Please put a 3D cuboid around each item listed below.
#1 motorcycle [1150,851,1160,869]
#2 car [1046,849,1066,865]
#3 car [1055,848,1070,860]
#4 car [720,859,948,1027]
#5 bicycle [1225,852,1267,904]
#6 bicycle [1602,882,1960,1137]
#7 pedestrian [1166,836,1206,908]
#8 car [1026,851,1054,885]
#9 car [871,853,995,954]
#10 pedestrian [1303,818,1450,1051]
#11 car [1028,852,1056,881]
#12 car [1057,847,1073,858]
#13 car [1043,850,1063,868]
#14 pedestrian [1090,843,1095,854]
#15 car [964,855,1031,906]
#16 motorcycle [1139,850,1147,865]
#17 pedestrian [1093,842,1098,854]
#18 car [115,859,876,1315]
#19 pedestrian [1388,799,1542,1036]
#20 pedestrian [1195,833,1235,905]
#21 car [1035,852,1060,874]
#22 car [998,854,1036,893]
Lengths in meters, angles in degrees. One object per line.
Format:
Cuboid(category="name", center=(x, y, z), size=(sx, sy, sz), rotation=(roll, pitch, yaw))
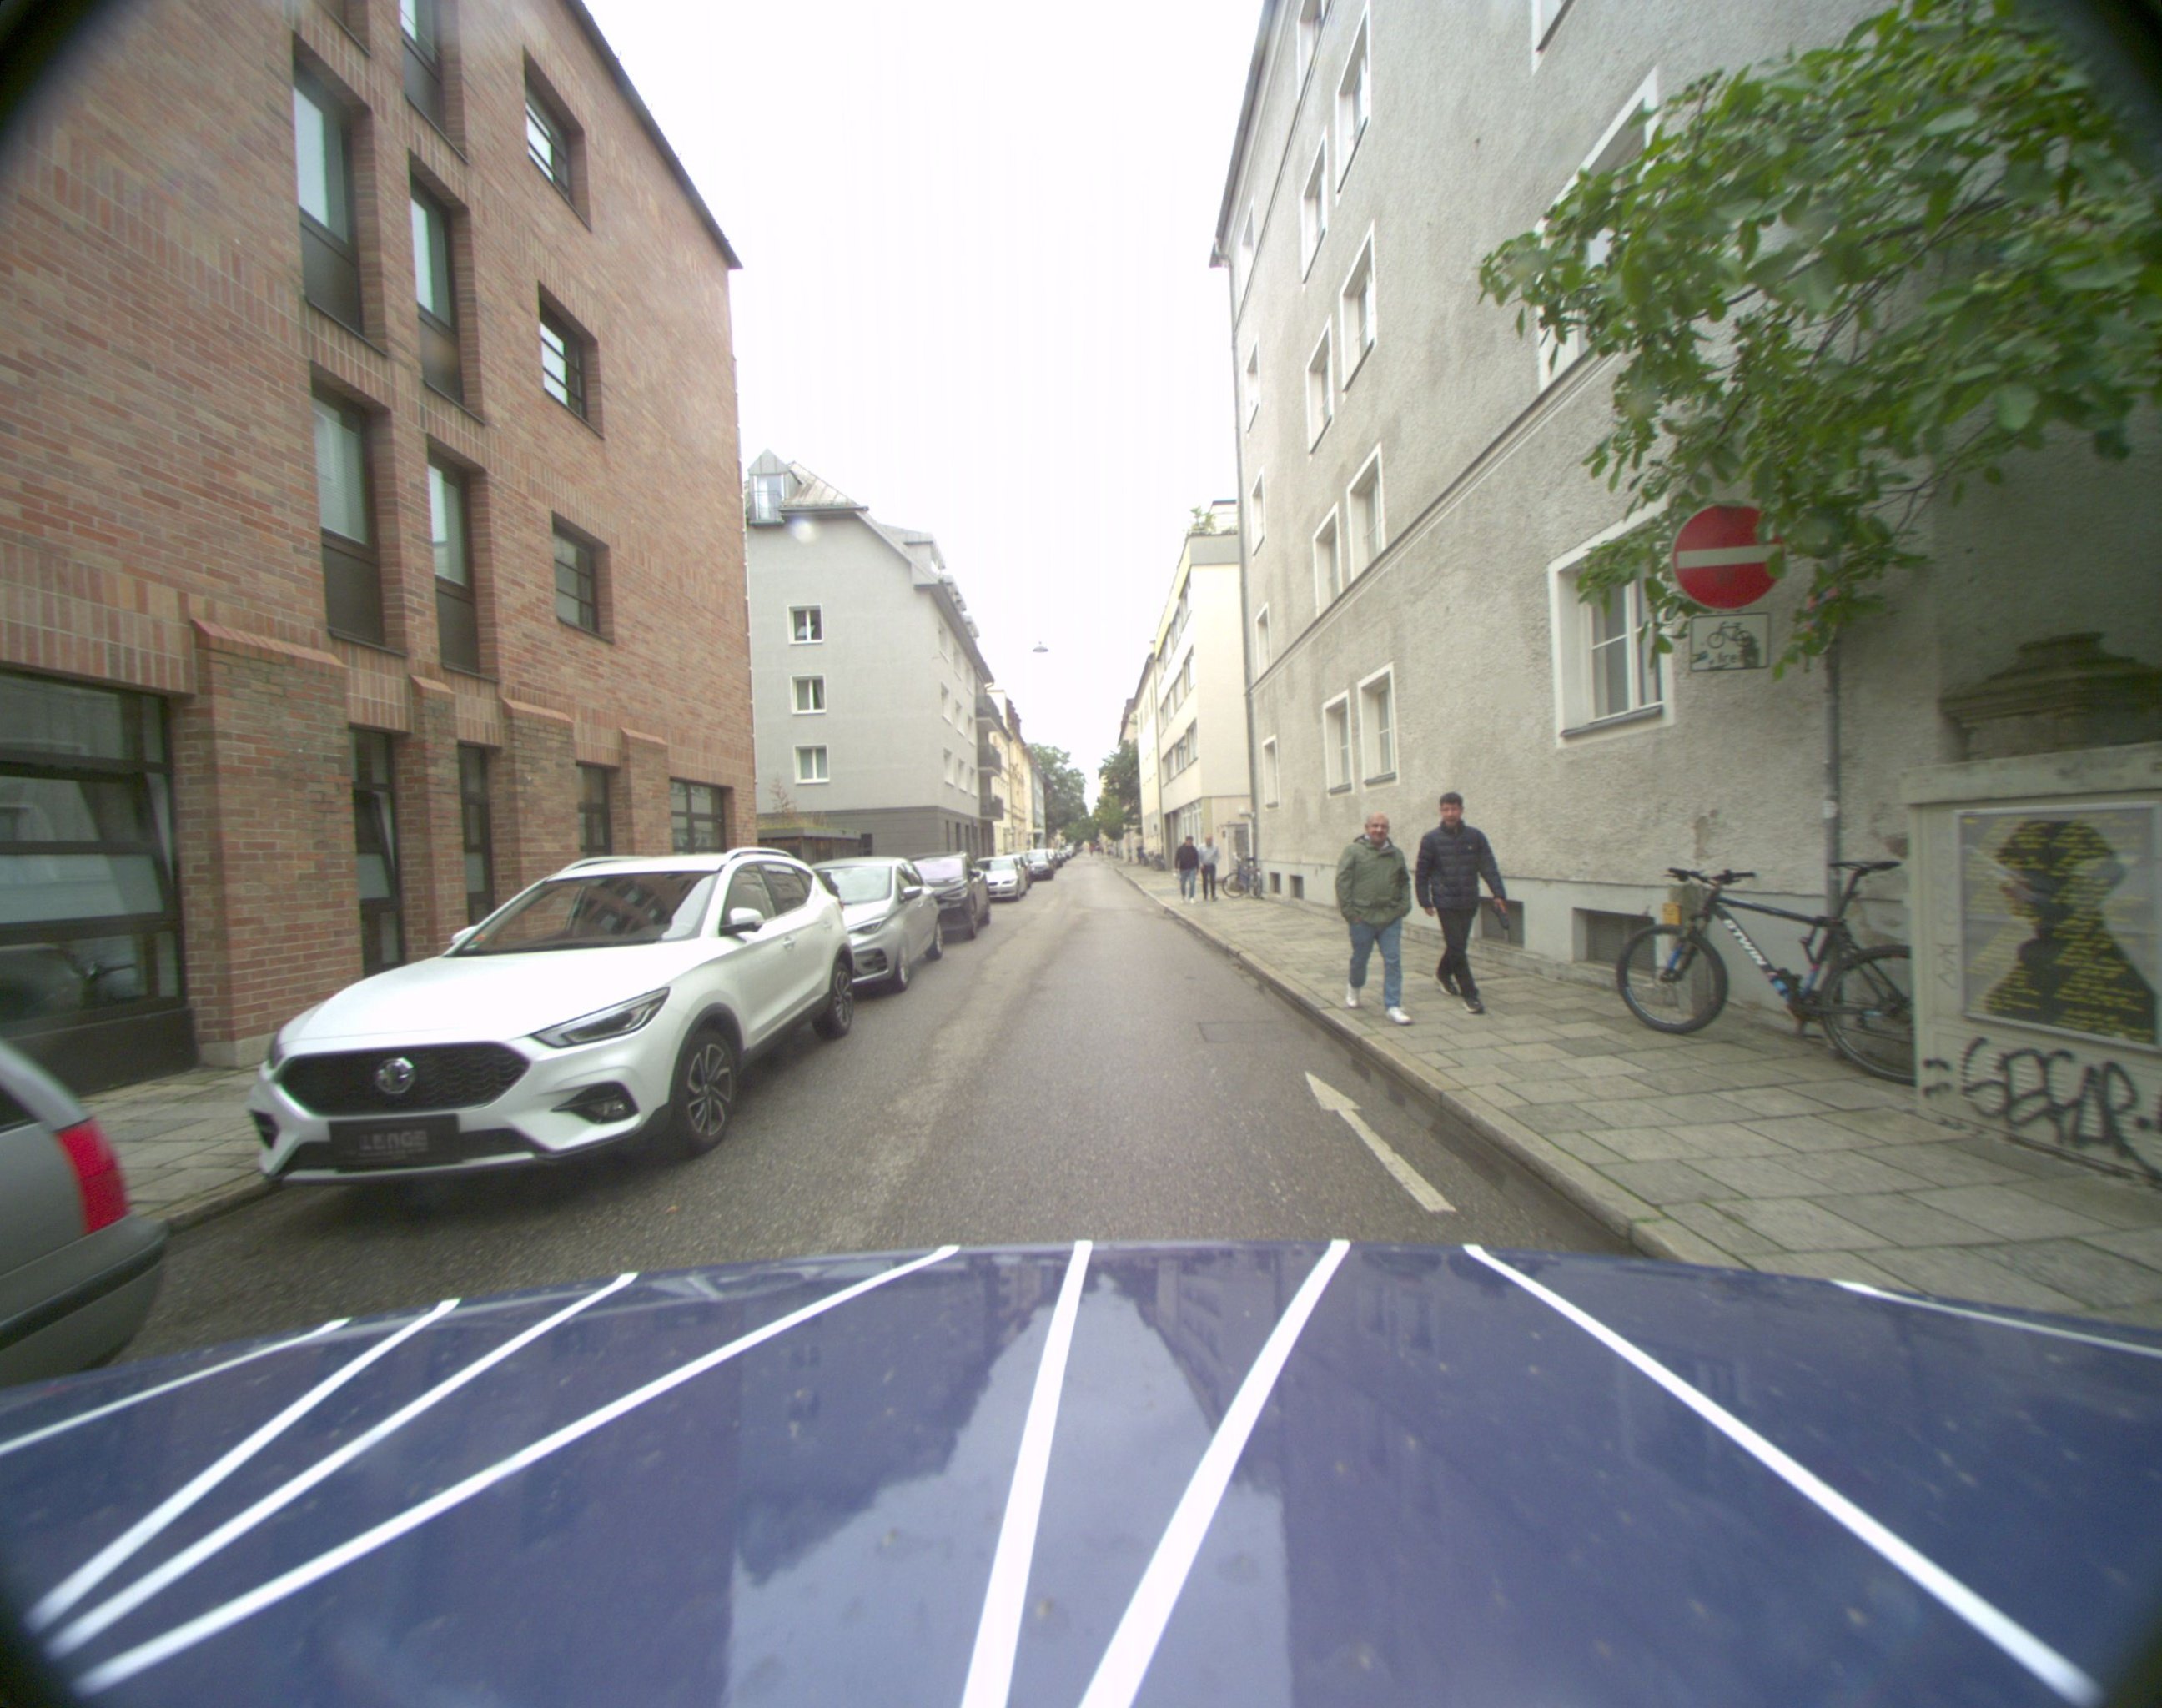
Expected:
Cuboid(category="motorcycle", center=(4.114, 0.314, 42.092), size=(0.324, 0.968, 1.960), rotation=(-4, 1, 1))
Cuboid(category="car", center=(-2.097, 0.243, 64.651), size=(1.525, 1.259, 3.210), rotation=(-4, 1, 1))
Cuboid(category="car", center=(-2.070, -0.014, 85.901), size=(1.557, 1.281, 3.537), rotation=(-4, 1, 1))
Cuboid(category="car", center=(-2.847, 0.920, 9.650), size=(1.619, 1.549, 3.806), rotation=(-4, 1, -1))
Cuboid(category="bicycle", center=(4.031, 0.562, 18.663), size=(0.450, 1.187, 1.498), rotation=(-4, 1, -9))
Cuboid(category="bicycle", center=(3.863, 0.759, 4.407), size=(0.432, 1.089, 1.703), rotation=(-4, 1, -1))
Cuboid(category="pedestrian", center=(2.647, 0.436, 19.220), size=(0.721, 1.718, 0.841), rotation=(-7, 1, 1))
Cuboid(category="car", center=(-1.889, 0.632, 35.266), size=(1.043, 1.429, 2.251), rotation=(-4, 1, 1))
Cuboid(category="car", center=(-2.744, 0.839, 14.924), size=(1.619, 1.570, 4.050), rotation=(-4, 1, -1))
Cuboid(category="pedestrian", center=(2.306, 0.591, 6.026), size=(0.691, 1.668, 0.859), rotation=(-5, 1, -1))
Cuboid(category="car", center=(-1.971, 0.629, 39.153), size=(1.190, 1.312, 2.779), rotation=(-4, 1, 1))
Cuboid(category="car", center=(-2.165, -0.229, 103.391), size=(1.998, 1.259, 3.999), rotation=(-4, 1, 1))
Cuboid(category="car", center=(-2.195, 0.356, 59.628), size=(1.352, 1.259, 3.036), rotation=(-4, 1, 1))
Cuboid(category="pedestrian", center=(2.045, -0.939, 133.491), size=(0.697, 1.834, 0.691), rotation=(-4, 1, 1))
Cuboid(category="car", center=(-2.657, 0.805, 24.797), size=(1.619, 1.369, 3.817), rotation=(-4, 1, 1))
Cuboid(category="motorcycle", center=(4.227, 0.246, 51.686), size=(0.324, 0.968, 1.960), rotation=(-4, 1, 1))
Cuboid(category="pedestrian", center=(2.594, -1.061, 134.422), size=(0.862, 2.002, 0.786), rotation=(-4, 1, 1))
Cuboid(category="car", center=(-2.889, 0.934, 5.220), size=(1.725, 1.606, 4.453), rotation=(-4, 1, -1))
Cuboid(category="pedestrian", center=(3.091, 0.480, 6.172), size=(0.692, 1.753, 0.741), rotation=(-5, 1, -10))
Cuboid(category="pedestrian", center=(3.369, 0.360, 19.206), size=(0.695, 1.718, 0.841), rotation=(-7, 1, 1))
Cuboid(category="car", center=(-2.182, 0.553, 49.952), size=(1.352, 1.259, 3.036), rotation=(-4, 1, 1))
Cuboid(category="car", center=(-2.511, 0.751, 30.100), size=(1.154, 1.368, 2.685), rotation=(-4, 1, 1))
